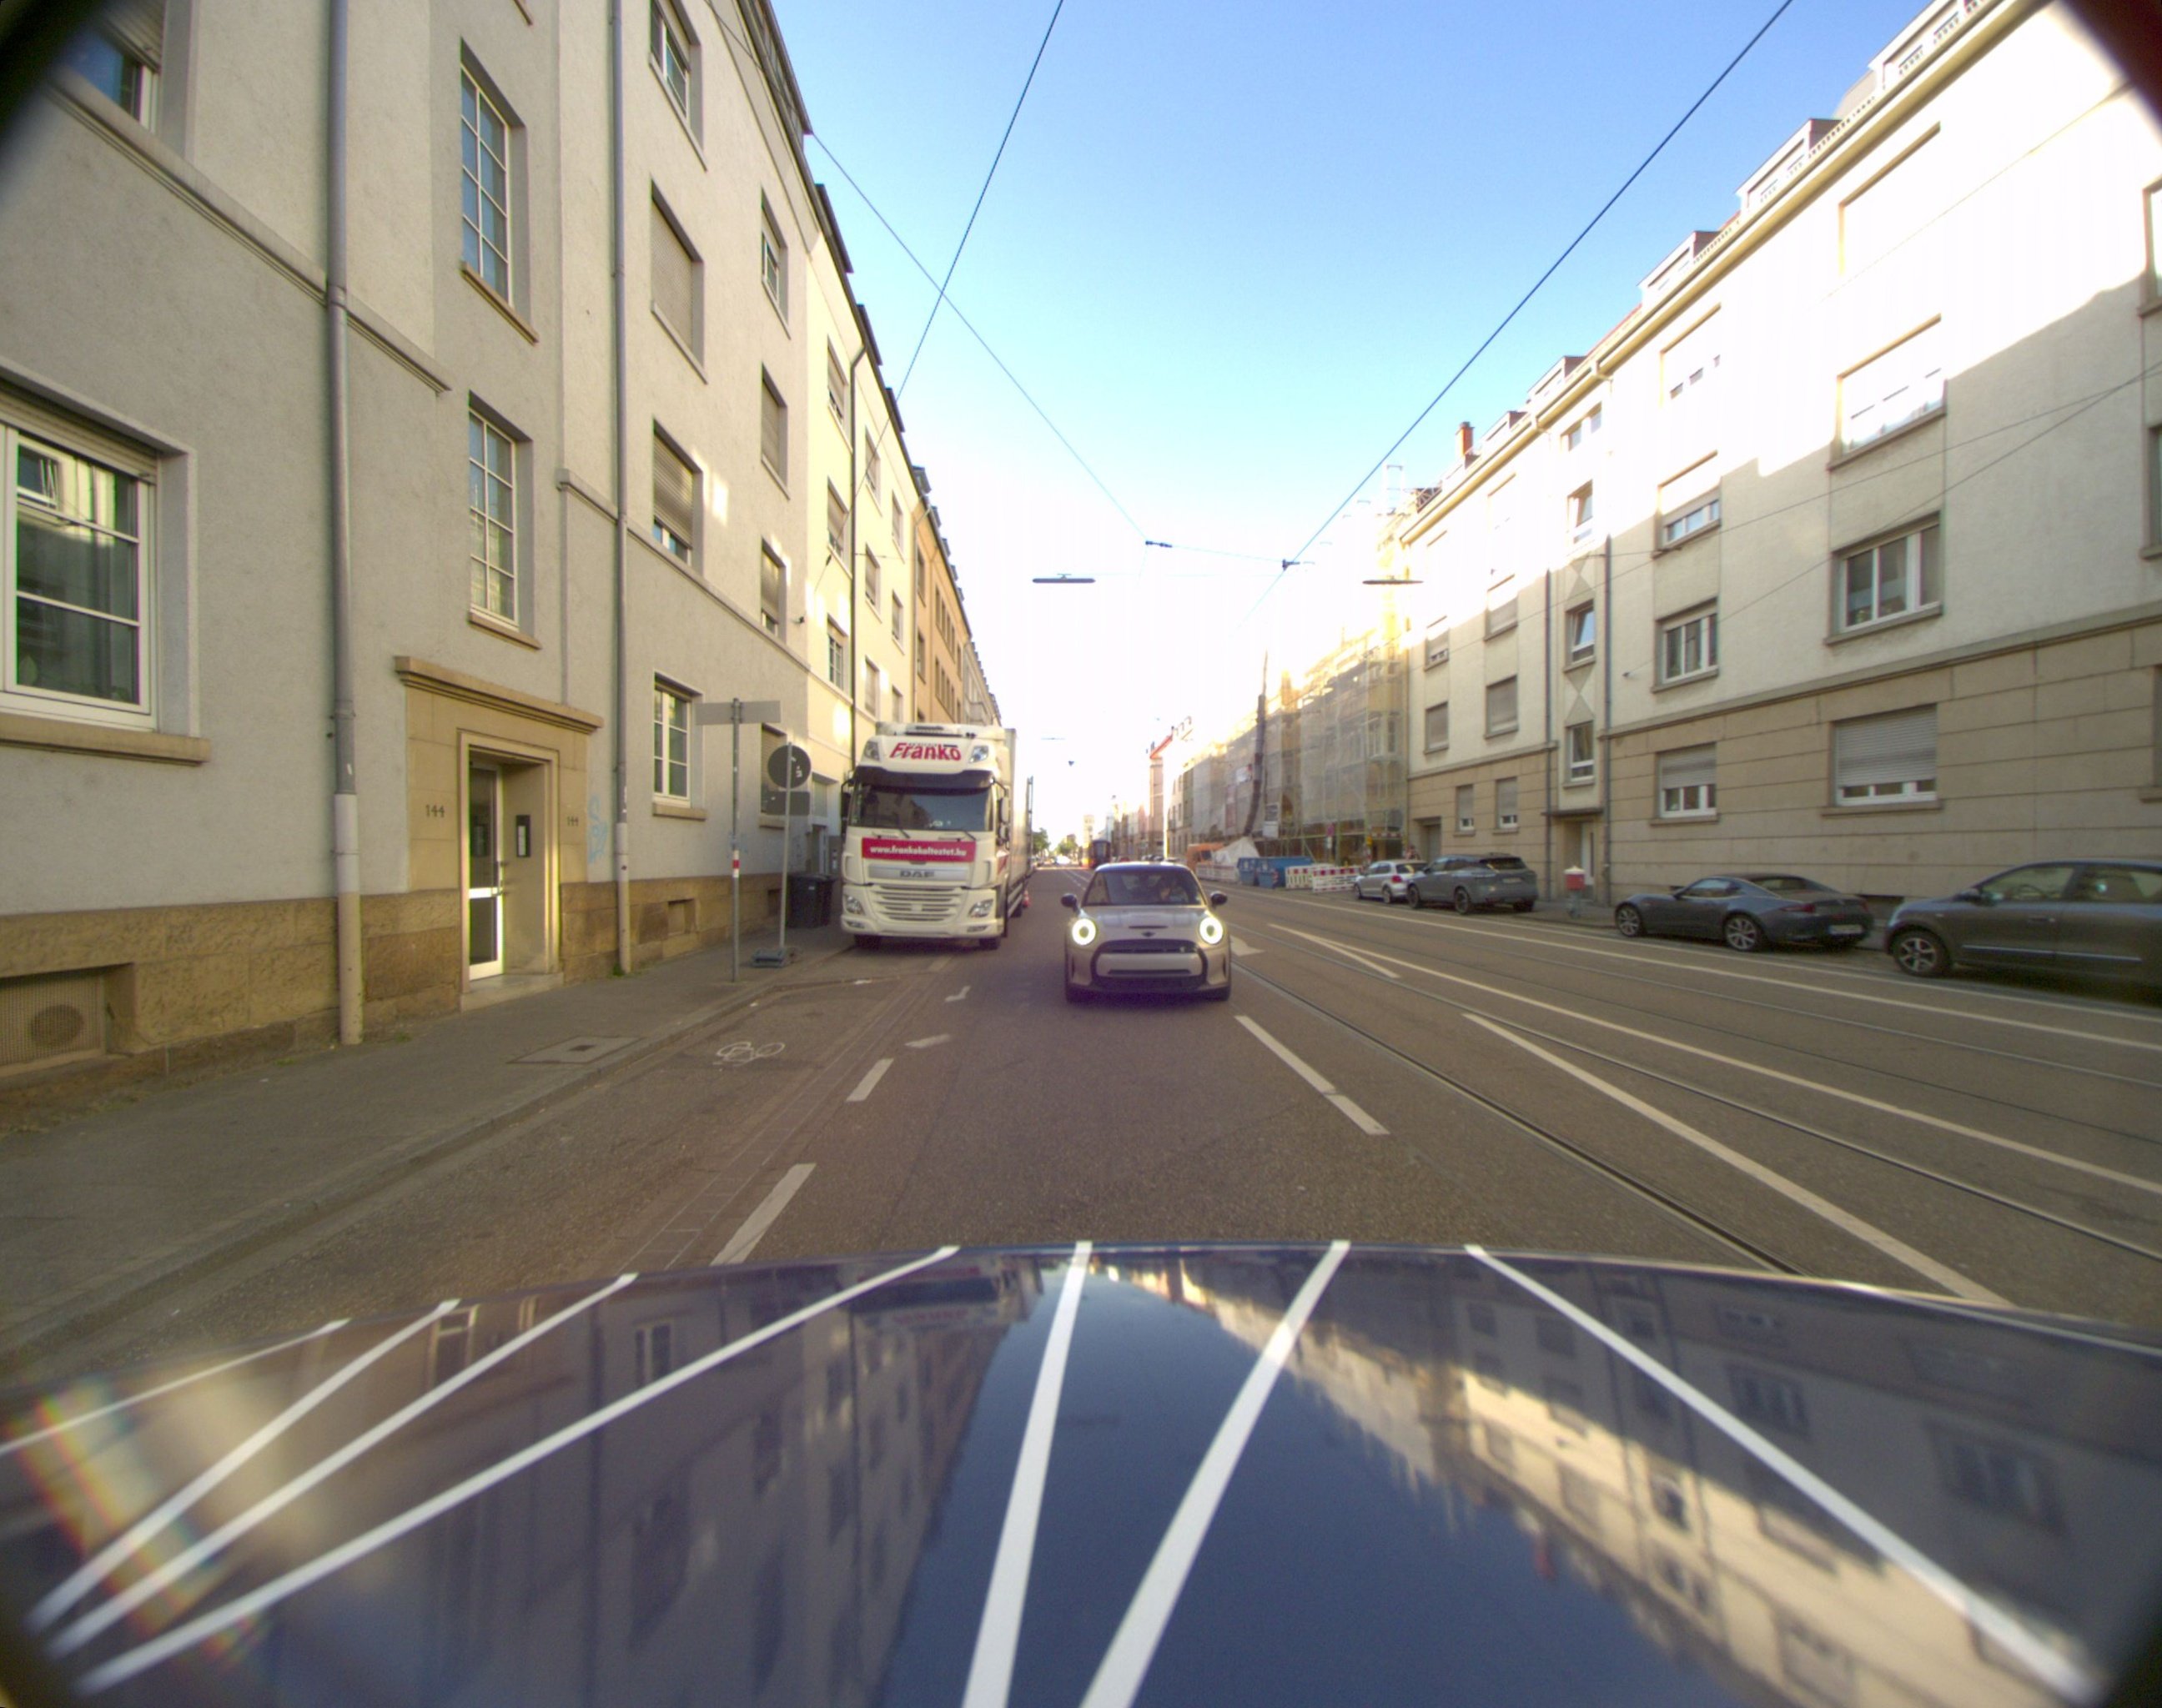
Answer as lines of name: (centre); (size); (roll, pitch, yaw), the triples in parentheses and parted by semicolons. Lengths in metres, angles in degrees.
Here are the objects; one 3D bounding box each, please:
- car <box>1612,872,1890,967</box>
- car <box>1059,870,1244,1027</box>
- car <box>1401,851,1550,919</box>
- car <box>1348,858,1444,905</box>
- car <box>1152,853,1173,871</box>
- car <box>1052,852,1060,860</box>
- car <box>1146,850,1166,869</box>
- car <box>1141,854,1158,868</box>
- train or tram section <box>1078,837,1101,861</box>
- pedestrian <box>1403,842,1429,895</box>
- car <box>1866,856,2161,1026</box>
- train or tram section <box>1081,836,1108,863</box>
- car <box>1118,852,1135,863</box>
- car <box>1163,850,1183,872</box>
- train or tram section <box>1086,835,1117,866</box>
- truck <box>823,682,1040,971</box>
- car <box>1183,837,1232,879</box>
car: (11.126, 1.004, 12.972); (1.476, 1.212, 3.522); (-3, 1, -4)
car: (0.651, 0.921, 9.018); (1.727, 1.416, 3.817); (0, -1, 0)
car: (10.831, 0.767, 21.248); (1.752, 1.600, 4.157); (-3, 1, -4)
car: (10.585, 0.870, 25.776); (1.565, 1.372, 3.506); (-3, 1, -4)
car: (8.230, 0.768, 77.018); (1.570, 1.674, 3.935); (-2, 1, -1)
car: (-6.317, 0.559, 192.100); (1.999, 1.871, 4.269); (-2, 1, -4)
car: (8.191, 0.575, 83.355); (1.570, 1.945, 4.183); (-2, 1, -1)
car: (7.980, 0.814, 88.440); (1.532, 1.518, 3.599); (-2, 1, -1)
train or tram section: (1.222, -0.747, 119.371); (2.867, 3.542, 13.330); (0, 1, -3)
pedestrian: (12.226, 0.516, 27.729); (0.519, 1.861, 0.762); (-2, 1, -2)
car: (11.363, 0.863, 8.356); (1.644, 1.549, 3.594); (-3, 1, -2)
train or tram section: (1.795, -0.628, 106.966); (2.867, 3.542, 13.330); (0, 1, -3)
car: (7.069, 0.505, 119.429); (2.231, 1.518, 4.959); (-2, 1, -1)
car: (8.593, 0.612, 71.064); (1.658, 1.911, 3.766); (-2, 1, 5)
train or tram section: (2.397, -0.504, 93.812); (2.867, 3.542, 13.038); (0, 1, -3)
truck: (-2.492, -0.503, 16.994); (2.700, 4.214, 11.773); (0, 1, -1)
car: (8.809, 0.249, 53.365); (2.215, 2.681, 5.871); (-2, 1, -2)
